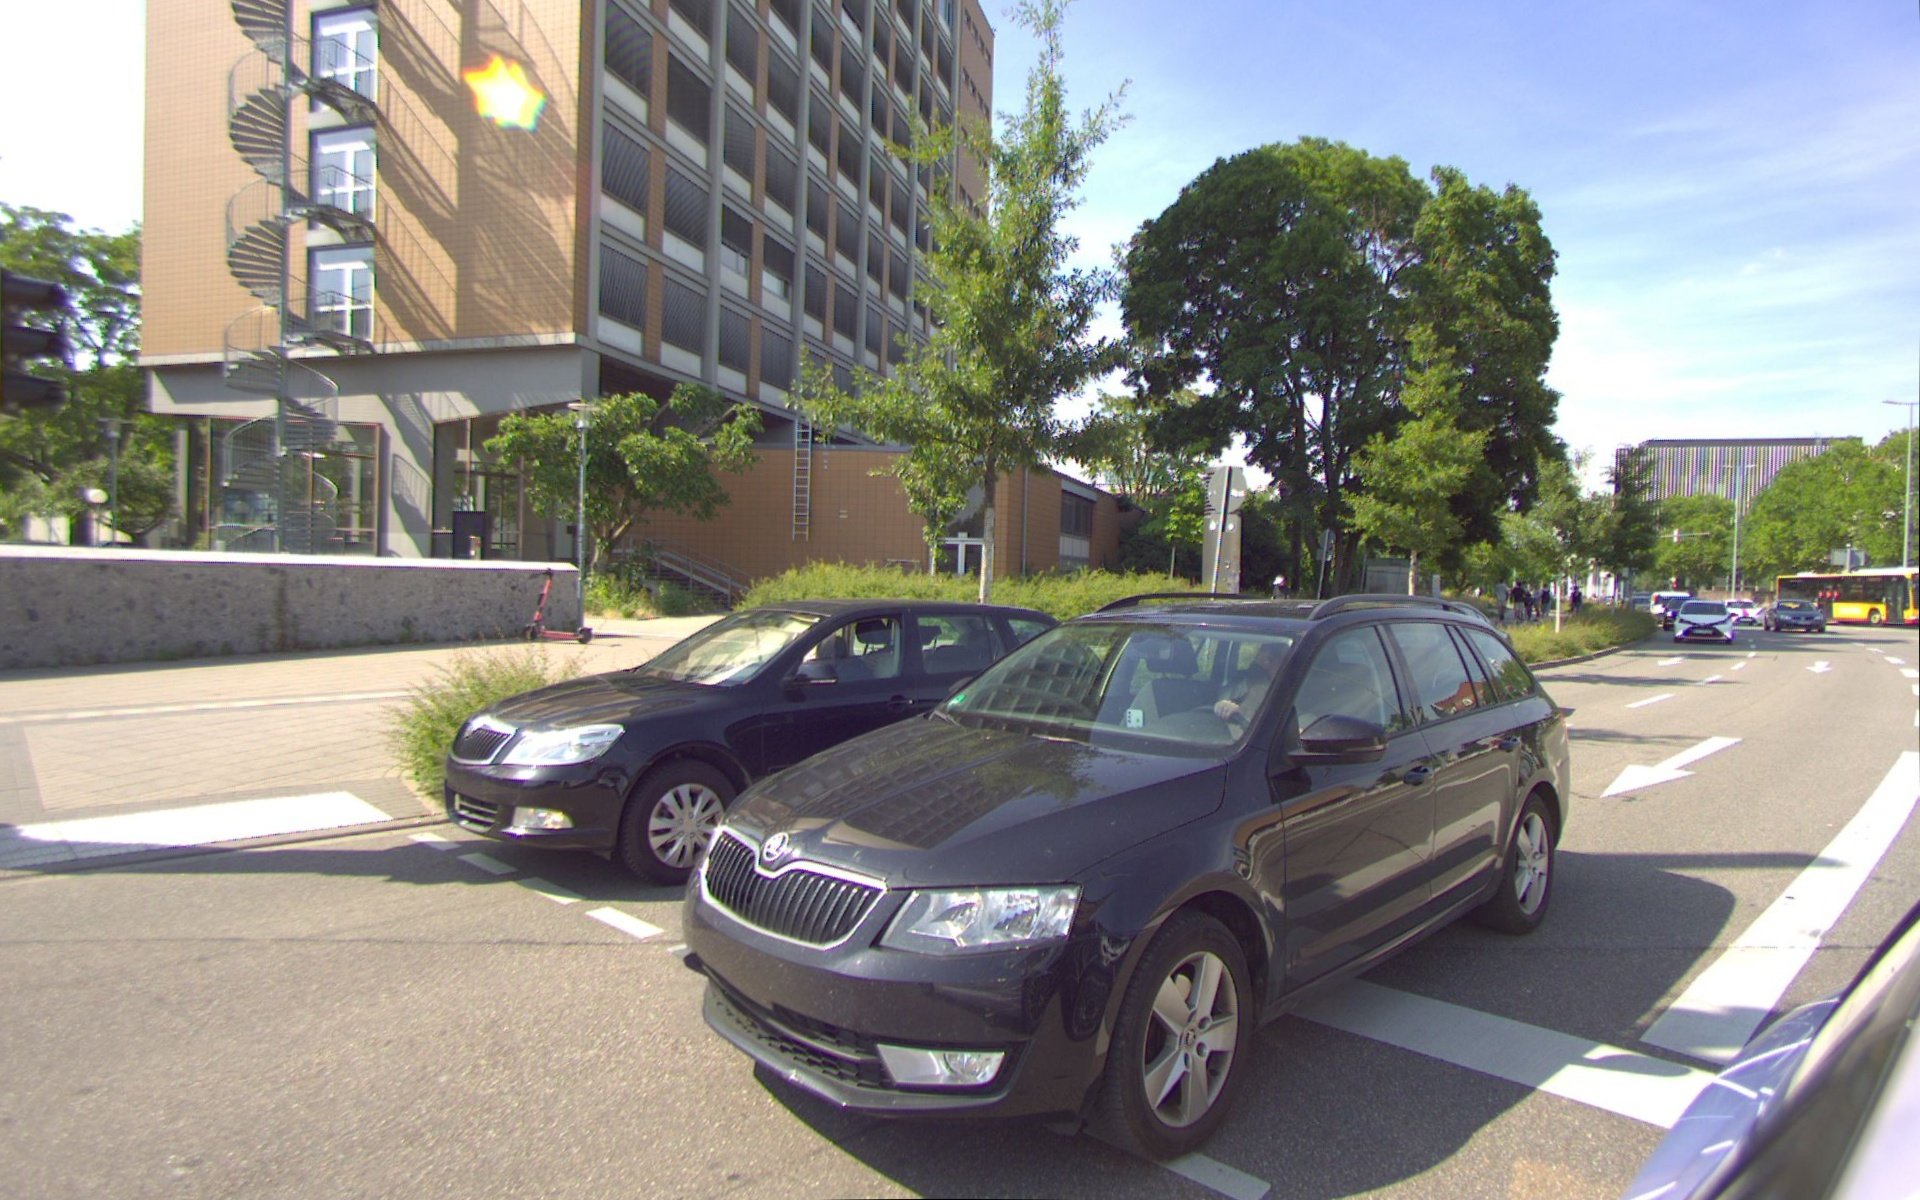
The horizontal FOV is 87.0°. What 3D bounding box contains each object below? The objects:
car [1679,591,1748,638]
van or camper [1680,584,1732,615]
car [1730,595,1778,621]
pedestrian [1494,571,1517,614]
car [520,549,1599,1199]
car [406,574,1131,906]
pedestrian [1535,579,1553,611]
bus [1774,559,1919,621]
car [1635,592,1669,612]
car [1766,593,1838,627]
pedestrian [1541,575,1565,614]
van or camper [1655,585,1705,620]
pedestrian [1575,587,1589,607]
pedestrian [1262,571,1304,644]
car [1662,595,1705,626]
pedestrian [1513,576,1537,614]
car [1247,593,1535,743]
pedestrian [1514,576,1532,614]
[{"bbox_3d":[25.790,0.463,34.732,1.671,1.493,3.715,0,0,34],"label":"car"},{"bbox_3d":[49.613,-0.084,67.395,1.902,1.911,4.876,2,1,27],"label":"van or camper"},{"bbox_3d":[43.029,0.396,54.908,1.478,1.310,3.450,2,1,29],"label":"car"},{"bbox_3d":[24.316,-0.350,45.126,0.719,1.860,0.643,0,3,-43],"label":"pedestrian"},{"bbox_3d":[0.951,0.597,4.012,4.701,1.453,1.632,-1,1,-44],"label":"car"},{"bbox_3d":[-0.947,0.623,6.495,4.321,1.448,1.703,0,-1,-41],"label":"car"},{"bbox_3d":[27.639,-0.230,47.904,0.638,1.464,0.564,3,3,27],"label":"pedestrian"},{"bbox_3d":[50.077,-0.533,55.683,2.753,3.076,12.110,2,1,11],"label":"bus"},{"bbox_3d":[47.720,0.130,69.838,1.477,1.310,3.453,2,2,27],"label":"car"},{"bbox_3d":[38.049,0.428,45.826,1.635,1.442,4.081,0,0,27],"label":"car"},{"bbox_3d":[25.900,-0.244,44.178,0.739,1.694,0.643,0,3,-43],"label":"pedestrian"},{"bbox_3d":[40.575,0.122,57.116,1.715,1.911,4.873,0,0,29],"label":"van or camper"},{"bbox_3d":[36.091,-0.171,58.697,0.639,1.145,0.744,3,3,31],"label":"pedestrian"},{"bbox_3d":[7.650,0.171,23.963,0.719,1.684,0.592,0,3,-43],"label":"pedestrian"},{"bbox_3d":[32.659,0.437,45.749,1.400,1.311,3.538,2,1,33],"label":"car"},{"bbox_3d":[24.854,-0.234,44.520,0.719,1.646,0.643,0,3,-43],"label":"pedestrian"},{"bbox_3d":[5.358,0.666,12.253,4.454,1.453,1.632,-1,1,-44],"label":"car"},{"bbox_3d":[26.863,-0.240,48.277,0.638,1.785,0.471,3,3,27],"label":"pedestrian"}]
